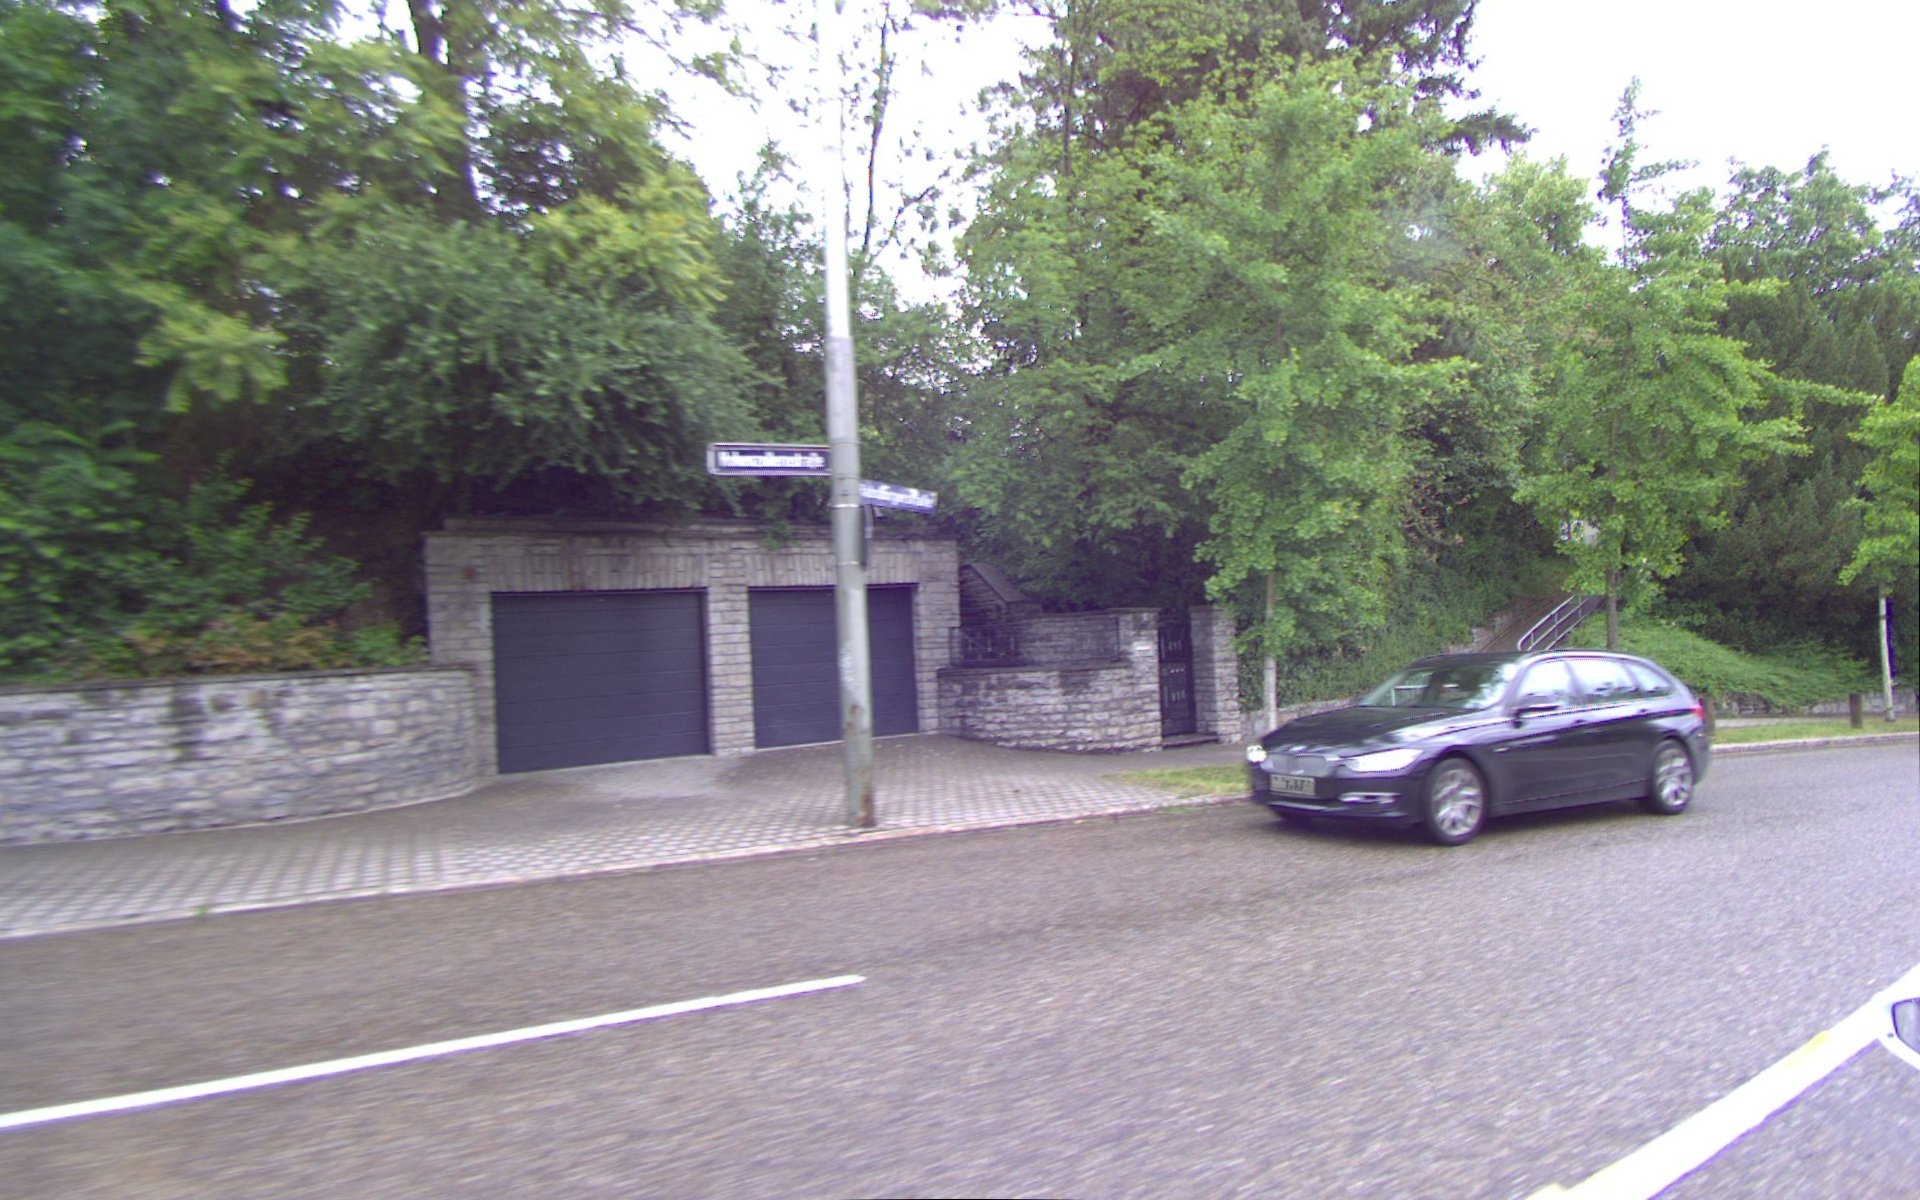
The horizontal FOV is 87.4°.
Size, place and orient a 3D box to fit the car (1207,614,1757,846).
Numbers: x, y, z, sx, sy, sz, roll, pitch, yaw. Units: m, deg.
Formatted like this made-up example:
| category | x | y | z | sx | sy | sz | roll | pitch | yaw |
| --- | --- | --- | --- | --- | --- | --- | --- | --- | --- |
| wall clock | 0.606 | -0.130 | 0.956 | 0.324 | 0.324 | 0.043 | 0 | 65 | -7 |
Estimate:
| category | x | y | z | sx | sy | sz | roll | pitch | yaw |
| --- | --- | --- | --- | --- | --- | --- | --- | --- | --- |
| car | 4.623 | 1.060 | 8.874 | 4.525 | 1.604 | 1.907 | 1 | -7 | -26 |
